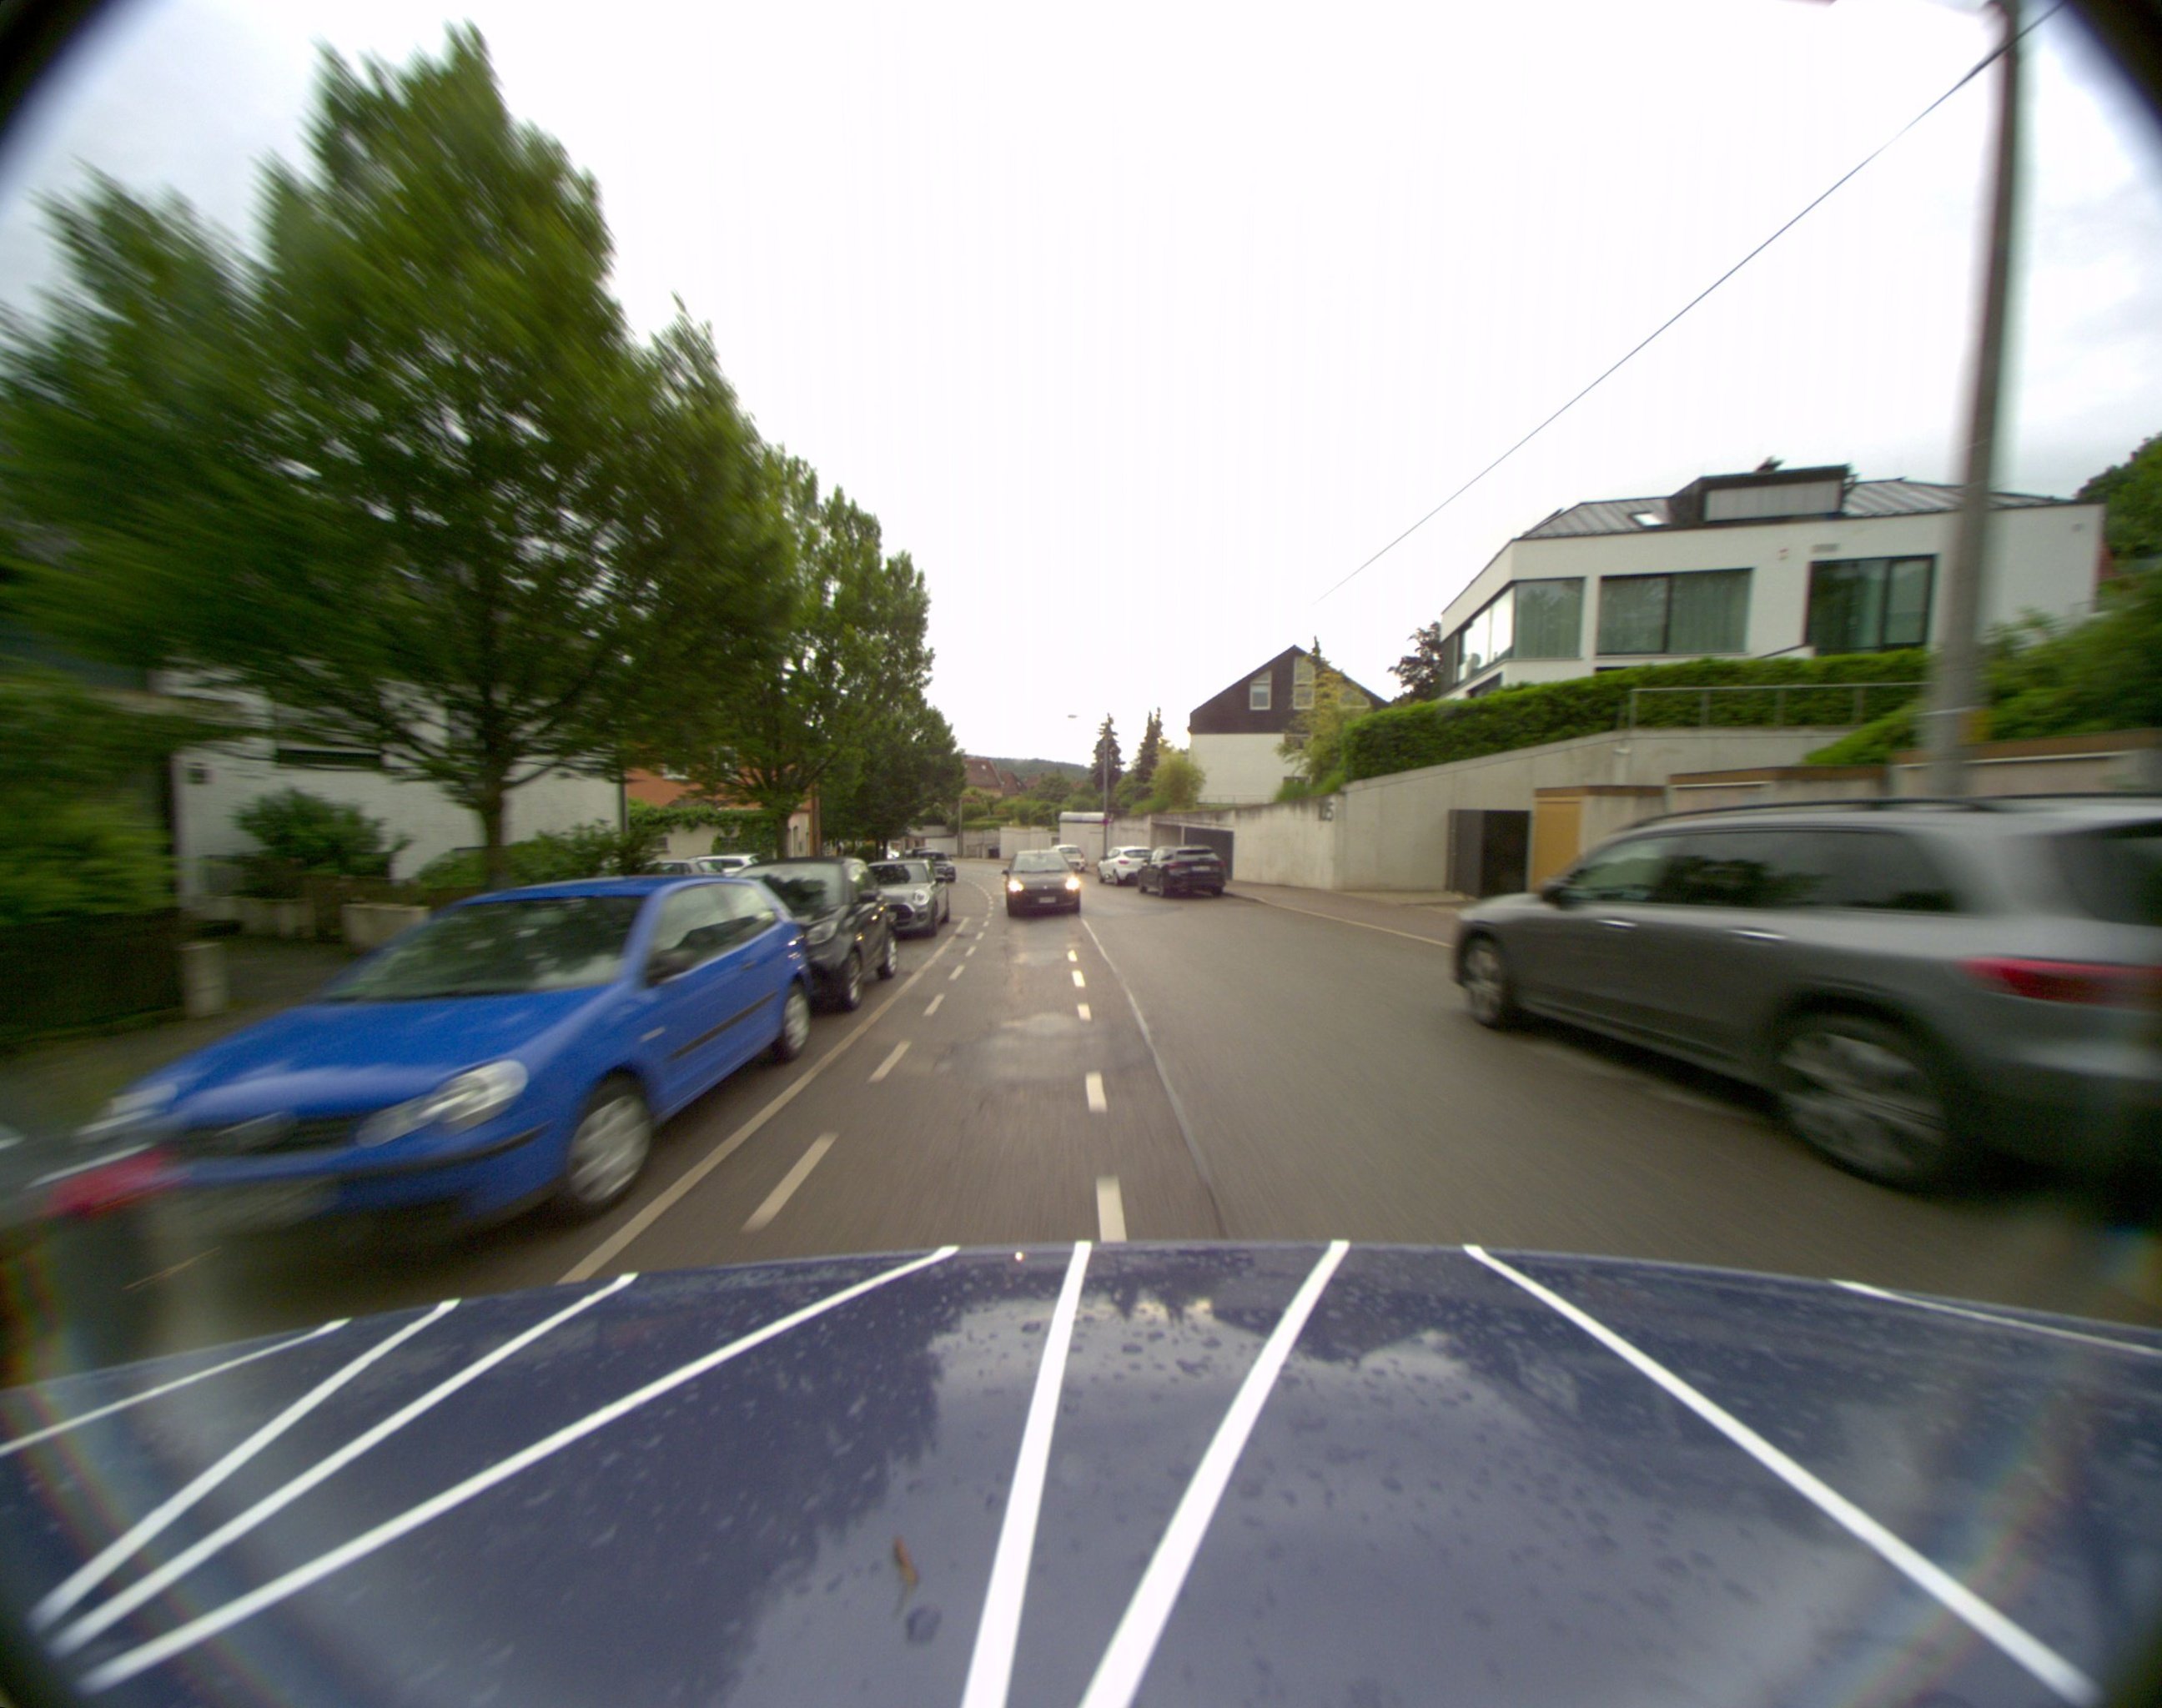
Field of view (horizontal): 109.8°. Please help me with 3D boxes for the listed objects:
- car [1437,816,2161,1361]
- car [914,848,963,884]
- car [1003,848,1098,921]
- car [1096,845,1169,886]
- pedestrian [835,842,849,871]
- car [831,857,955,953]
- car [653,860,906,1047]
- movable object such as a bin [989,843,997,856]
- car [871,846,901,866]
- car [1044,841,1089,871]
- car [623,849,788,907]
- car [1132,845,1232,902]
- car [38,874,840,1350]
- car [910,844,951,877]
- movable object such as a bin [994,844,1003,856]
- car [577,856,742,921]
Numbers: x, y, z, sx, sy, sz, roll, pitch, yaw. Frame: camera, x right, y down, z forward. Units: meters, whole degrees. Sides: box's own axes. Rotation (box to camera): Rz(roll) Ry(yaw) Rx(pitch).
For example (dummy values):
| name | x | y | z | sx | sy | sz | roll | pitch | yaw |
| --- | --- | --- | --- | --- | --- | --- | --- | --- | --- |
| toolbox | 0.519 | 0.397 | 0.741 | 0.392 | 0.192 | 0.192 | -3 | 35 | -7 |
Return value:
| name | x | y | z | sx | sy | sz | roll | pitch | yaw |
| --- | --- | --- | --- | --- | --- | --- | --- | --- | --- |
| car | 4.175 | 0.681 | 4.442 | 1.901 | 1.681 | 4.543 | -1 | 1 | -3 |
| car | -6.914 | 0.525 | 36.483 | 1.868 | 1.461 | 5.048 | -4 | 2 | -14 |
| car | -0.875 | 0.646 | 18.653 | 1.894 | 1.521 | 4.053 | -2 | 1 | -8 |
| car | 1.914 | 0.396 | 29.493 | 1.838 | 1.431 | 4.035 | -1 | 1 | -11 |
| pedestrian | -14.434 | 0.142 | 45.901 | 0.763 | 1.710 | 0.901 | 1 | 1 | -20 |
| car | -3.530 | 0.883 | 14.909 | 1.673 | 1.463 | 3.708 | -3 | 1 | -4 |
| car | -3.073 | 0.912 | 8.405 | 1.631 | 1.554 | 3.021 | -2 | 1 | -3 |
| movable object such as a bin | -8.124 | -0.389 | 70.043 | 0.528 | 1.140 | 0.601 | -2 | 3 | 16 |
| car | -15.882 | 0.139 | 61.726 | 1.664 | 1.481 | 3.991 | -4 | 2 | -24 |
| car | -0.832 | 0.097 | 41.282 | 1.633 | 1.507 | 3.827 | -1 | 1 | -14 |
| car | -12.213 | 0.754 | 24.974 | 4.315 | 1.457 | 1.933 | -4 | 4 | -4 |
| car | 2.878 | 0.487 | 22.693 | 1.718 | 1.451 | 4.678 | -1 | 1 | -8 |
| car | -2.975 | 1.001 | 4.799 | 1.658 | 1.511 | 3.998 | -3 | 1 | -2 |
| car | -8.356 | 0.305 | 42.095 | 2.061 | 1.647 | 5.229 | -2 | 1 | -12 |
| movable object such as a bin | -7.557 | -0.358 | 69.874 | 0.608 | 0.986 | 0.601 | -3 | 2 | 16 |
| car | -12.203 | 0.973 | 22.219 | 3.690 | 1.457 | 1.777 | -4 | 3 | -3 |
